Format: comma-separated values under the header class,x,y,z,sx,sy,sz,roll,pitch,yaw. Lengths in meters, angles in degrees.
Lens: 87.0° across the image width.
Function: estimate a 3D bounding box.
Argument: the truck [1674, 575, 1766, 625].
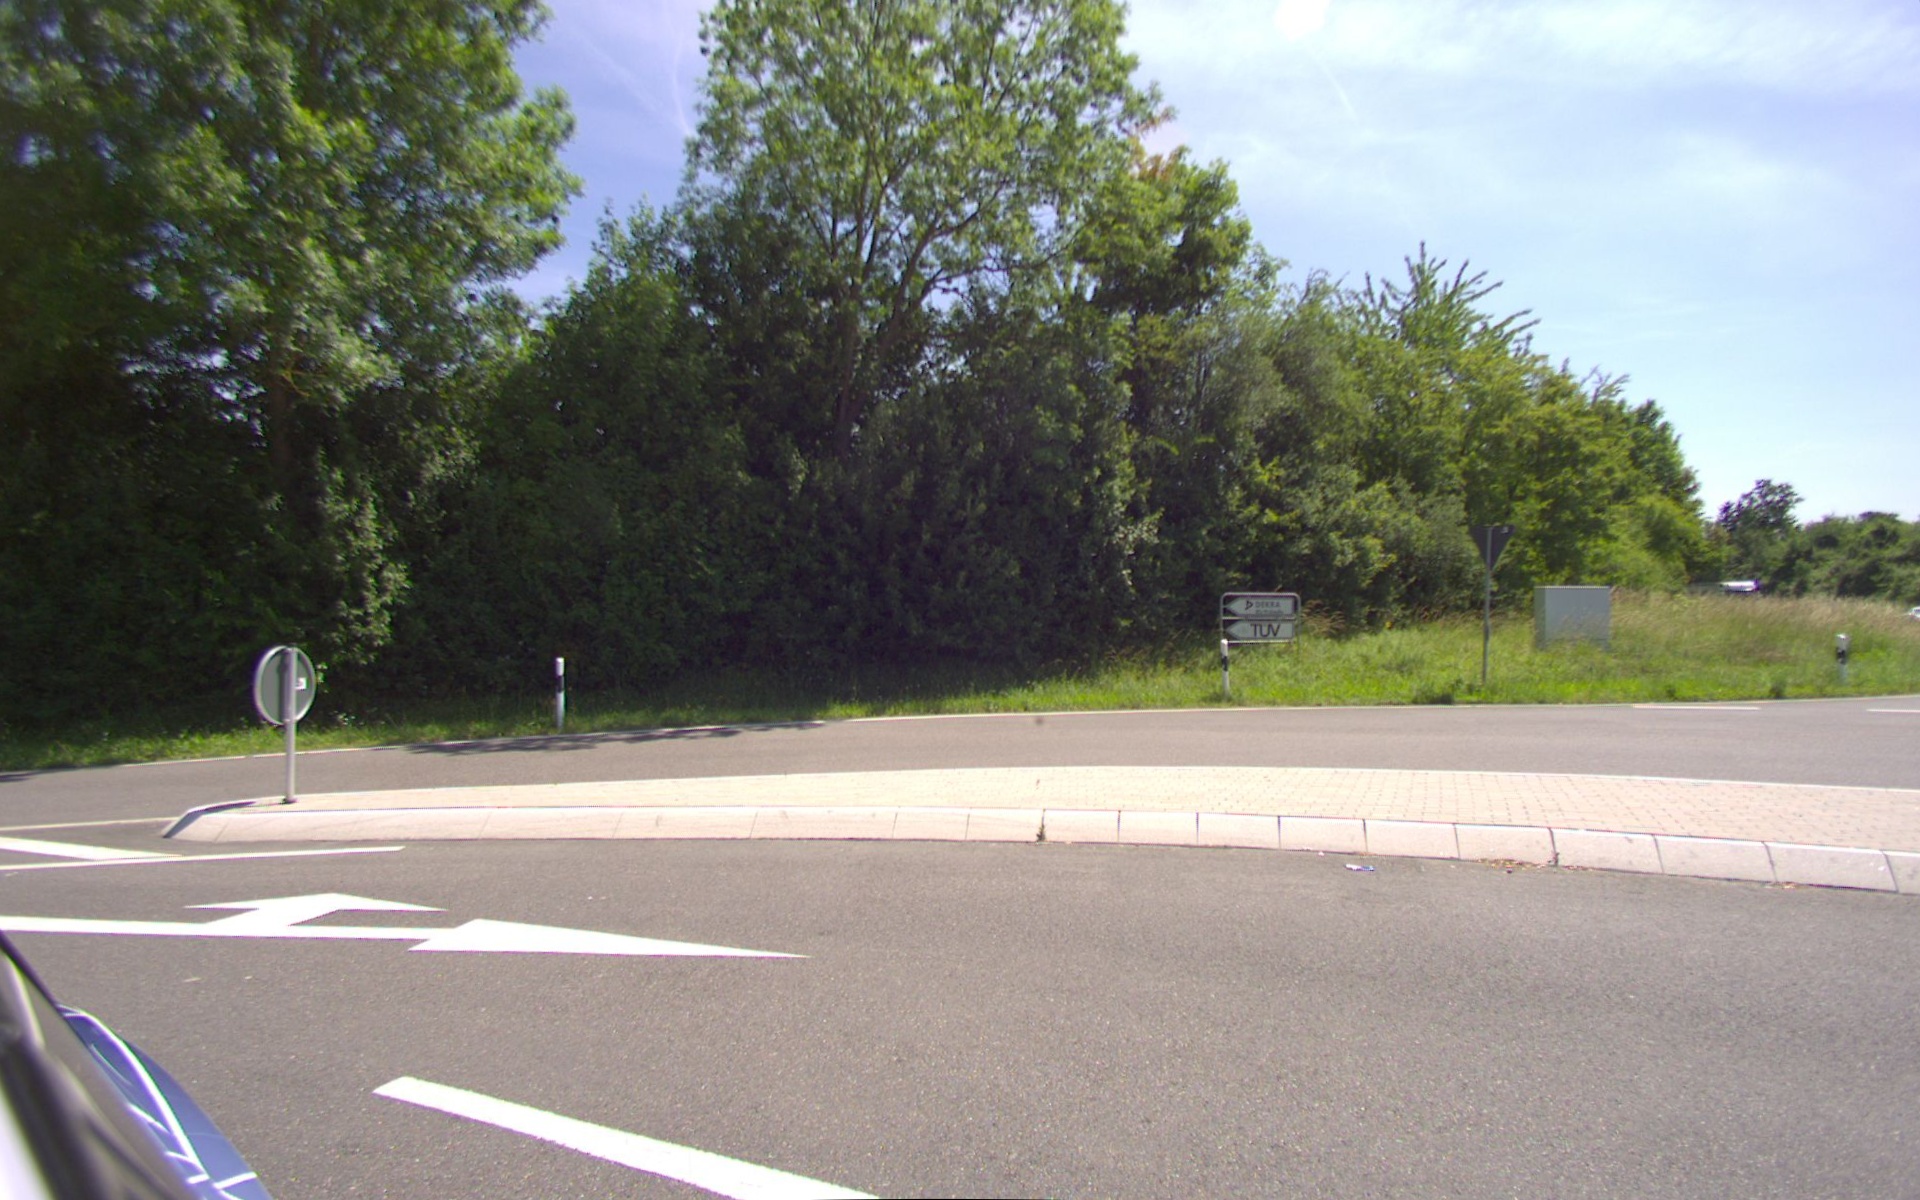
class,x,y,z,sx,sy,sz,roll,pitch,yaw
truck,75.515,0.216,101.097,3.124,4.481,16.328,-3,-2,22
